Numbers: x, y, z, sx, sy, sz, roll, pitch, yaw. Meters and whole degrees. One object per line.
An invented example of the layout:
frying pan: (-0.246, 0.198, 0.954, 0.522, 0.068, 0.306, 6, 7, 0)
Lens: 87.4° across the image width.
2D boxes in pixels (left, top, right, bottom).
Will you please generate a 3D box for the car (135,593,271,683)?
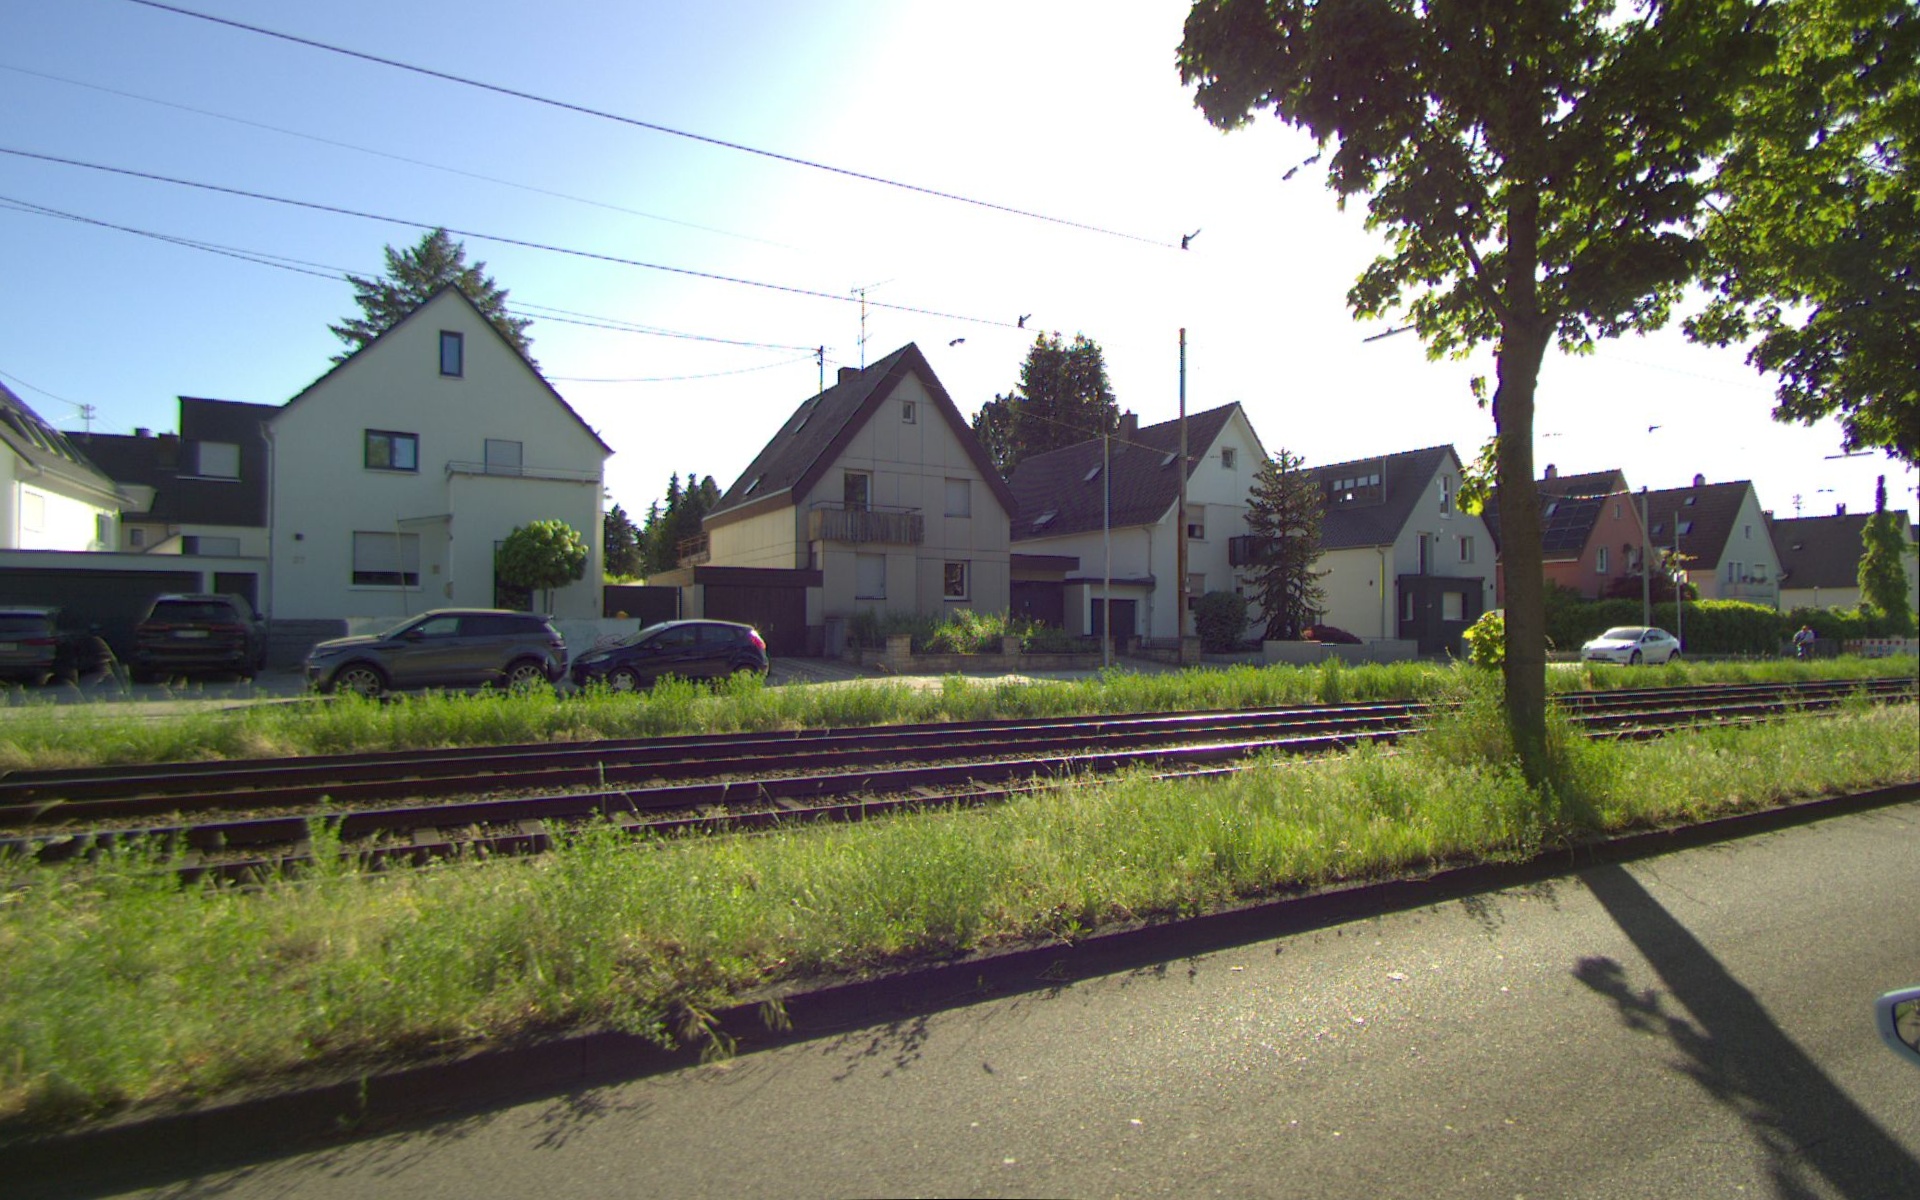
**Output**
car: (-15.851, 0.740, 21.229, 1.979, 1.691, 3.963, 2, -1, -33)

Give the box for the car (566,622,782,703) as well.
car: (-5.768, 1.235, 20.395, 3.942, 1.470, 1.606, 2, -1, -30)

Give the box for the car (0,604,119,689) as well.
car: (-18.309, 0.863, 19.967, 1.917, 1.483, 4.188, 2, -1, -33)

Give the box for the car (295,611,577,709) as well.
car: (-9.396, 1.049, 18.284, 4.333, 1.589, 1.637, 2, -1, -29)

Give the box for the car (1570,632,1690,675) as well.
car: (27.100, 2.145, 40.604, 4.670, 1.620, 1.986, 2, -1, -27)

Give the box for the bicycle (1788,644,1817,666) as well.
bicycle: (36.220, 2.368, 43.167, 2.041, 0.913, 0.438, 2, -1, -35)

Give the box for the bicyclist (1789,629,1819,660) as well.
bicyclist: (36.378, 1.897, 43.291, 0.729, 1.295, 0.793, 2, 0, -34)
